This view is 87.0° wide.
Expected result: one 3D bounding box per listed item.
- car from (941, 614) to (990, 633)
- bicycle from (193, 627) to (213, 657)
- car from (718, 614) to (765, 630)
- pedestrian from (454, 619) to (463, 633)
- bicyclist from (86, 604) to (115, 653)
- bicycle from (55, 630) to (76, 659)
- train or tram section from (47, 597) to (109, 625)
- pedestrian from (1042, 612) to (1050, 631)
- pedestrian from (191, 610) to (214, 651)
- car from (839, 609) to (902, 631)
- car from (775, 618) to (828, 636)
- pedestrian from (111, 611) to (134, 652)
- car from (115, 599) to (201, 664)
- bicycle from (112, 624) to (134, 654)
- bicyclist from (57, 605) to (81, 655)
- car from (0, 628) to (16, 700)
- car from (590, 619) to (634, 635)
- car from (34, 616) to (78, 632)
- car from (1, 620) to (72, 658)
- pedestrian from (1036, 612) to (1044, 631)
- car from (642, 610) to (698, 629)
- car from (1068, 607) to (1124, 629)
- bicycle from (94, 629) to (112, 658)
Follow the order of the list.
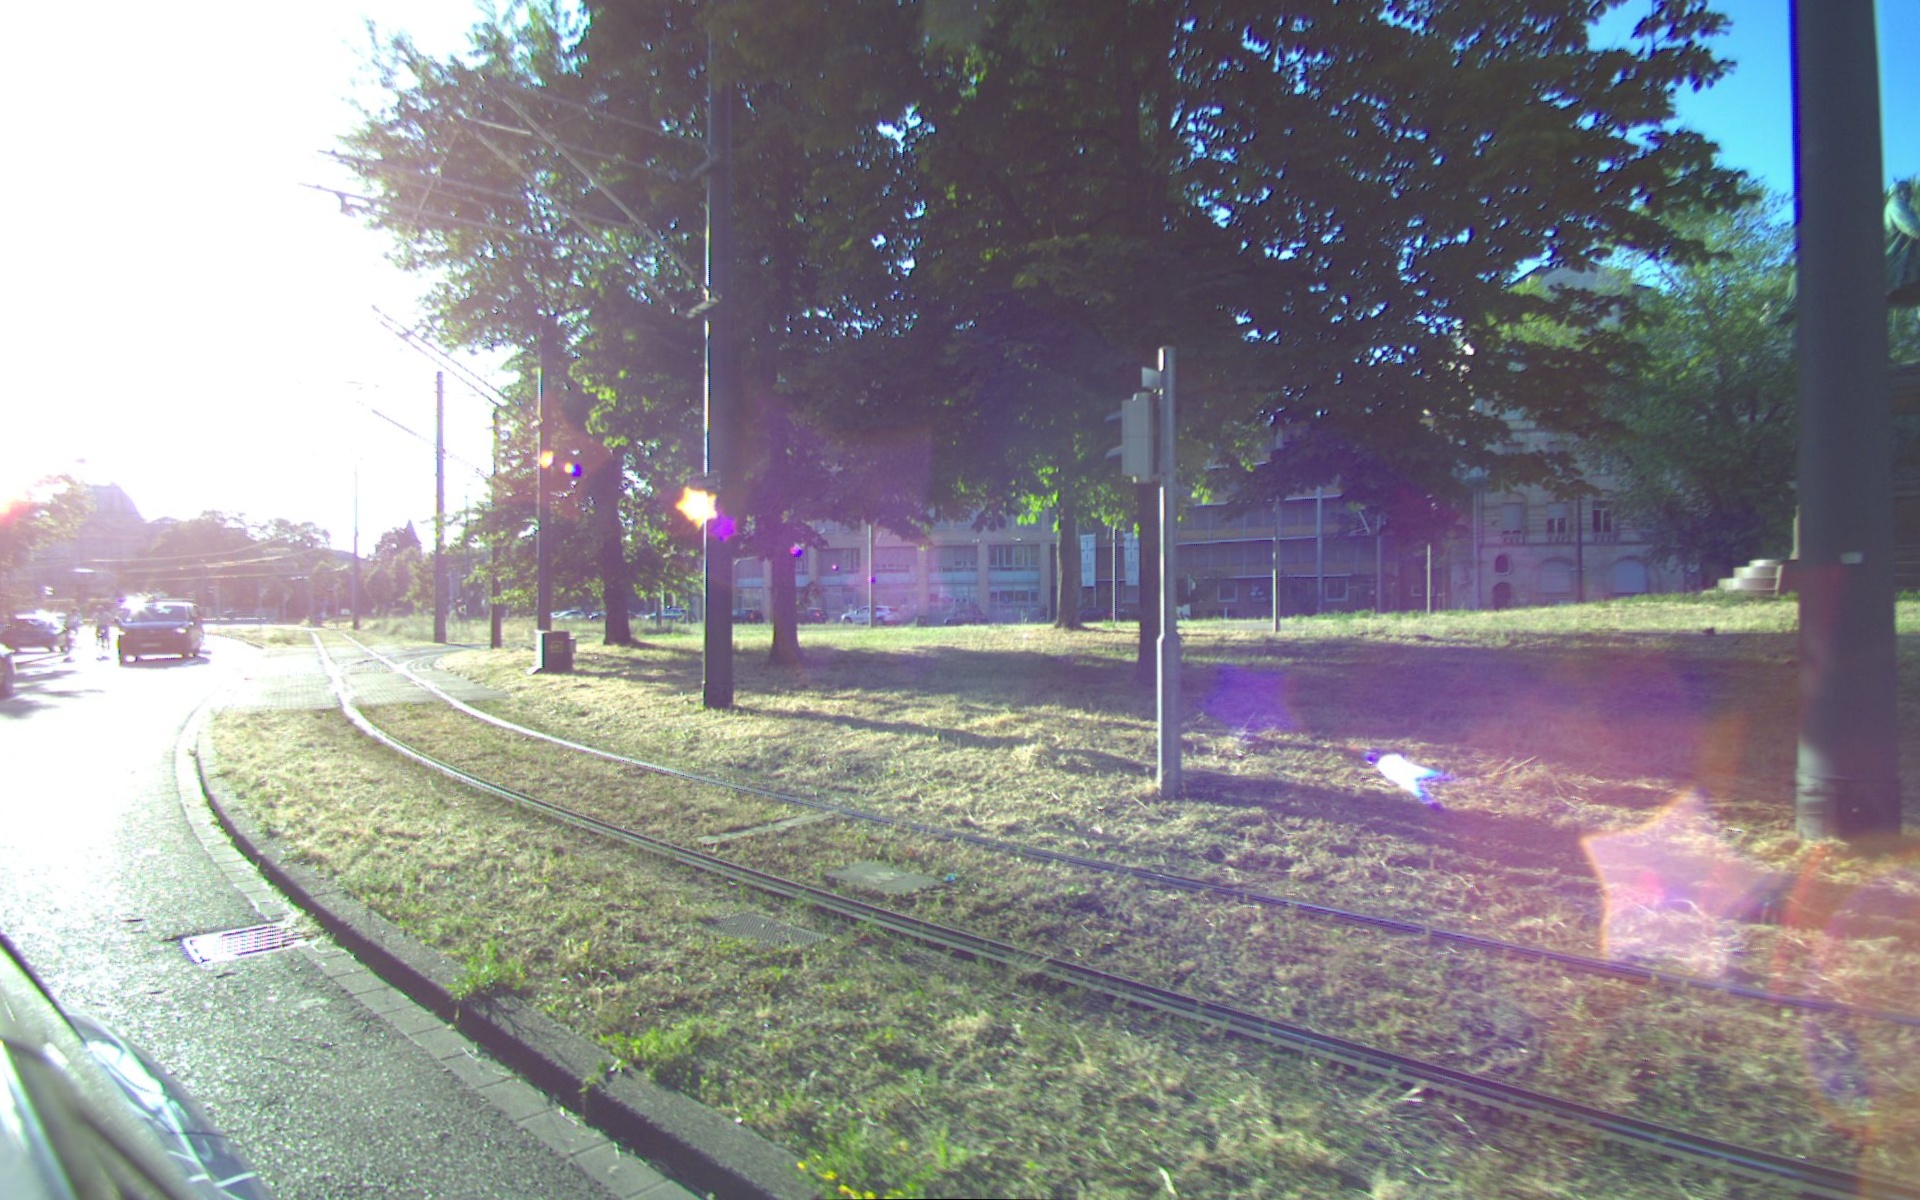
[{"bbox_3d":[0.416,1.841,77.884,3.504,1.364,1.540,-2,-1,28],"label":"car"},{"bbox_3d":[-31.691,1.736,42.369,0.522,1.167,1.852,-2,1,-41],"label":"bicycle"},{"bbox_3d":[-17.254,1.727,80.037,3.586,1.162,1.509,-2,-1,31],"label":"car"},{"bbox_3d":[-60.450,3.128,121.949,0.716,1.685,0.729,-2,-2,35],"label":"pedestrian"},{"bbox_3d":[-32.559,1.087,38.338,0.816,1.821,1.058,0,-1,-43],"label":"bicyclist"},{"bbox_3d":[-33.302,1.657,37.684,0.568,1.036,1.859,0,-1,-42],"label":"bicycle"},{"bbox_3d":[-120.350,1.582,137.963,13.209,3.563,2.752,-1,-1,33],"label":"train or tram section"},{"bbox_3d":[6.711,1.674,78.898,0.484,1.441,0.410,-2,-2,33],"label":"pedestrian"},{"bbox_3d":[-31.677,1.271,42.315,0.669,1.661,0.903,-1,0,-40],"label":"pedestrian"},{"bbox_3d":[-6.507,1.473,73.530,4.288,1.493,1.760,-1,-1,27],"label":"car"},{"bbox_3d":[-12.006,2.056,76.569,3.725,1.291,1.634,-1,-1,30],"label":"car"},{"bbox_3d":[-34.898,1.303,42.168,0.631,1.661,0.844,-1,0,-44],"label":"pedestrian"},{"bbox_3d":[-26.867,1.028,34.030,1.889,2.005,4.960,0,-1,-34],"label":"car"},{"bbox_3d":[-34.869,1.614,42.144,0.522,1.167,1.850,-2,2,-45],"label":"bicycle"},{"bbox_3d":[-33.196,1.104,37.700,0.666,1.821,0.995,0,-1,-43],"label":"bicyclist"},{"bbox_3d":[-17.648,1.151,17.112,1.747,1.317,4.252,0,-1,-33],"label":"car"},{"bbox_3d":[-30.387,2.352,88.309,3.777,1.292,1.711,-1,-1,33],"label":"car"},{"bbox_3d":[-87.632,2.293,98.140,4.565,1.411,1.825,-1,1,30],"label":"car"},{"bbox_3d":[-38.083,1.593,41.803,1.705,1.483,3.908,3,-3,-37],"label":"car"},{"bbox_3d":[6.196,1.688,78.160,0.484,1.441,0.410,-2,-2,33],"label":"pedestrian"},{"bbox_3d":[-24.161,1.600,84.194,4.768,1.491,1.873,-1,-1,33],"label":"car"},{"bbox_3d":[9.210,1.234,68.686,3.497,1.364,1.543,-2,-1,22],"label":"car"},{"bbox_3d":[-32.430,1.634,38.283,0.472,1.036,1.983,0,-2,-42],"label":"bicycle"}]
